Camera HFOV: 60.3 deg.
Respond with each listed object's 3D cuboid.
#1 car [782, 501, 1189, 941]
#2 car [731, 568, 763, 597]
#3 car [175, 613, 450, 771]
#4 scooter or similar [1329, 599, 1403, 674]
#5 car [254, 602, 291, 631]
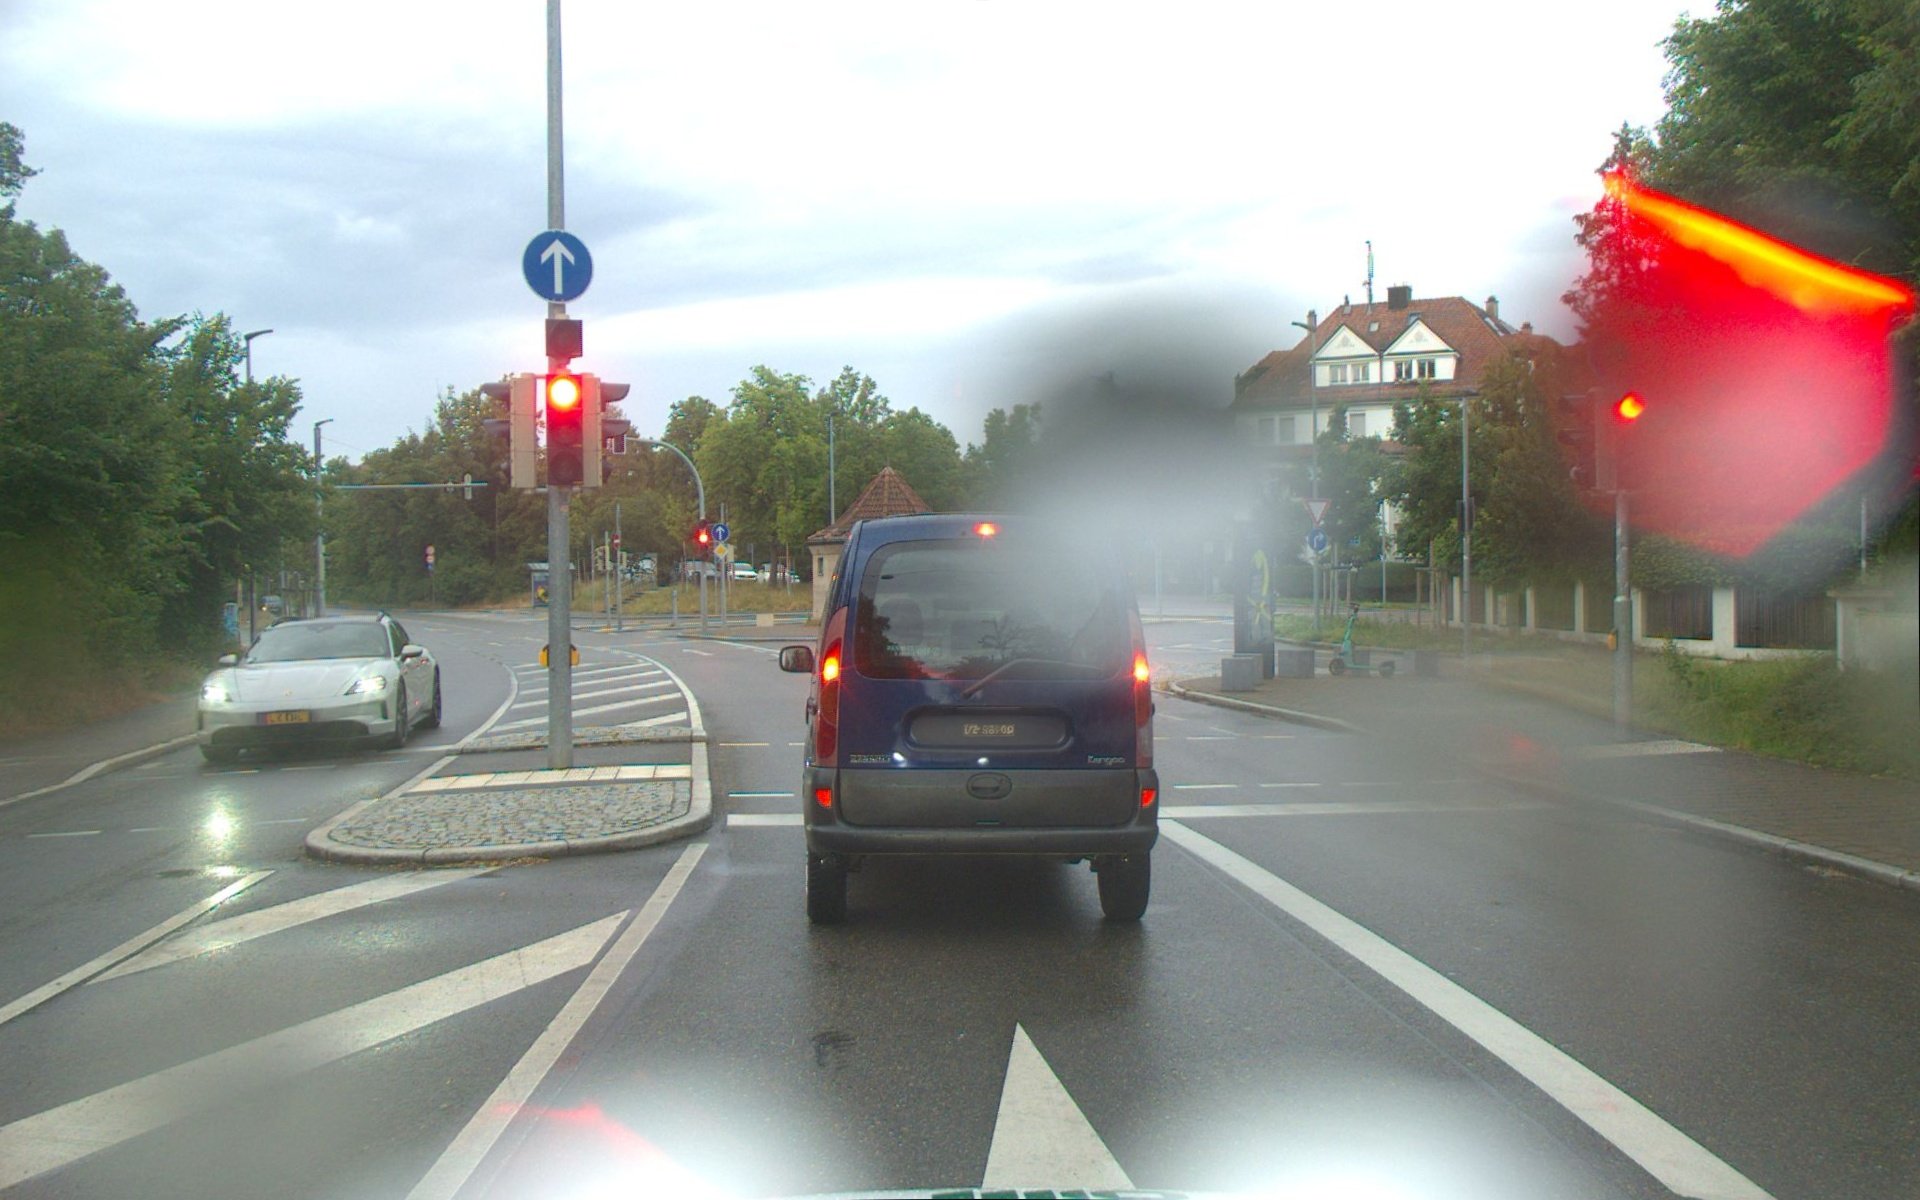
[{"bbox_3d":[0.022,0.486,8.884,1.697,1.817,3.998,0,0,-3],"label":"car"},{"bbox_3d":[-14.113,-1.112,109.737,1.955,1.844,3.995,0,-1,-6],"label":"car"},{"bbox_3d":[-6.922,0.899,18.180,1.958,1.334,4.348,-3,1,-11],"label":"car"},{"bbox_3d":[6.840,0.608,27.859,1.125,1.240,0.405,-1,-1,-2],"label":"scooter or similar"},{"bbox_3d":[-49.363,1.199,118.726,1.972,2.049,3.960,0,-1,-30],"label":"car"}]
